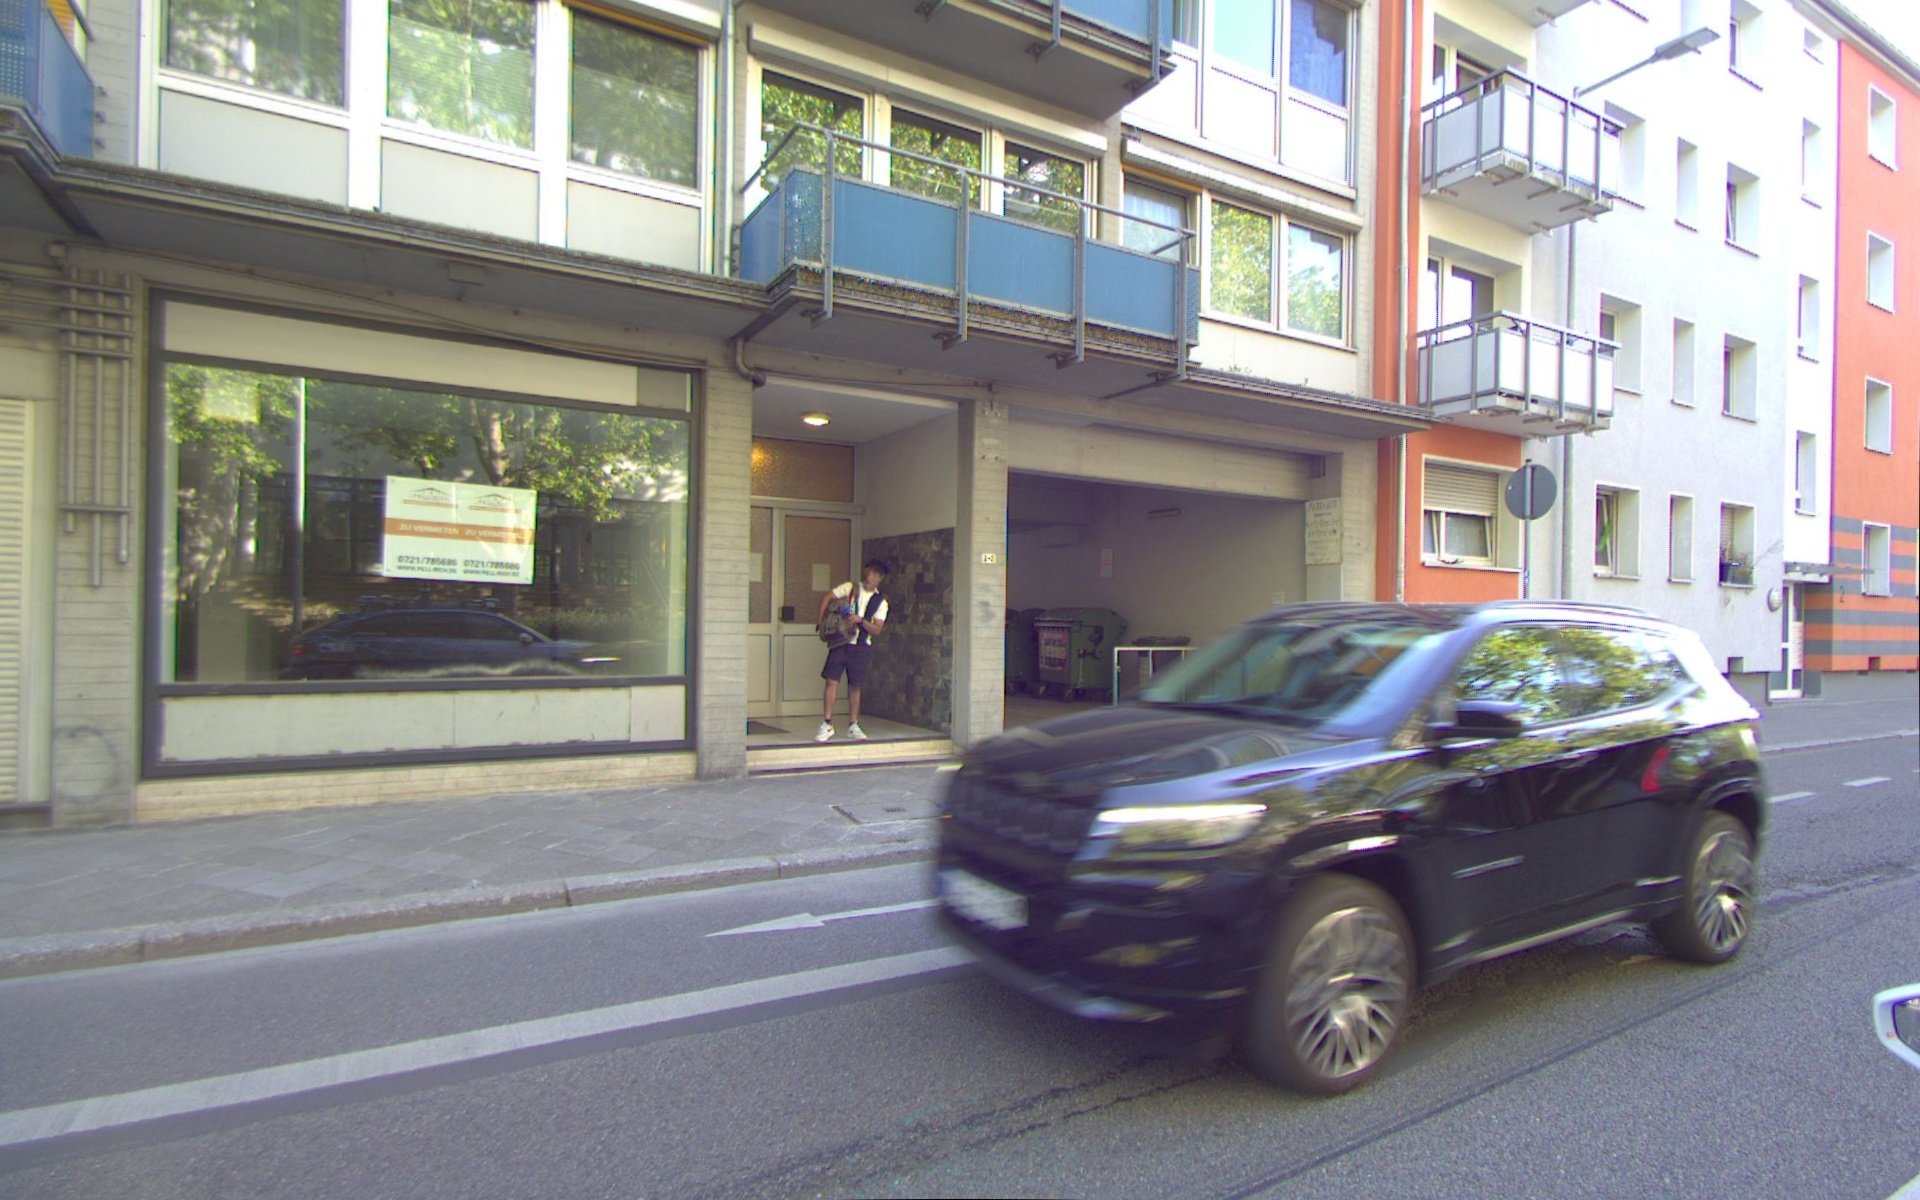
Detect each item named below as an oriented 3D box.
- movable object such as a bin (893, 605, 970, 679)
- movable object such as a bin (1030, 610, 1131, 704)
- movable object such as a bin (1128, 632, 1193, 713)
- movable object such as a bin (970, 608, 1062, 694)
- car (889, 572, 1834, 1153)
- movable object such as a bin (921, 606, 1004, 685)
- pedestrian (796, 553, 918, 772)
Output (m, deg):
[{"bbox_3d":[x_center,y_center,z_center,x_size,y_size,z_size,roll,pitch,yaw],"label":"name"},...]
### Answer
[{"bbox_3d":[-0.579,0.812,19.864,1.066,1.384,1.255,2,0,-27],"label":"movable object such as a bin"},{"bbox_3d":[1.883,0.868,15.811,1.066,1.384,1.192,2,0,-27],"label":"movable object such as a bin"},{"bbox_3d":[2.883,1.027,14.461,0.650,1.115,0.626,2,0,-27],"label":"movable object such as a bin"},{"bbox_3d":[0.941,0.845,17.126,1.066,1.384,1.255,2,0,-27],"label":"movable object such as a bin"},{"bbox_3d":[2.029,0.771,4.677,4.336,1.591,1.840,2,0,-31],"label":"car"},{"bbox_3d":[0.030,0.825,18.694,1.066,1.384,1.255,2,0,-27],"label":"movable object such as a bin"},{"bbox_3d":[-0.954,0.554,9.254,0.882,1.902,0.703,2,0,-28],"label":"pedestrian"}]
